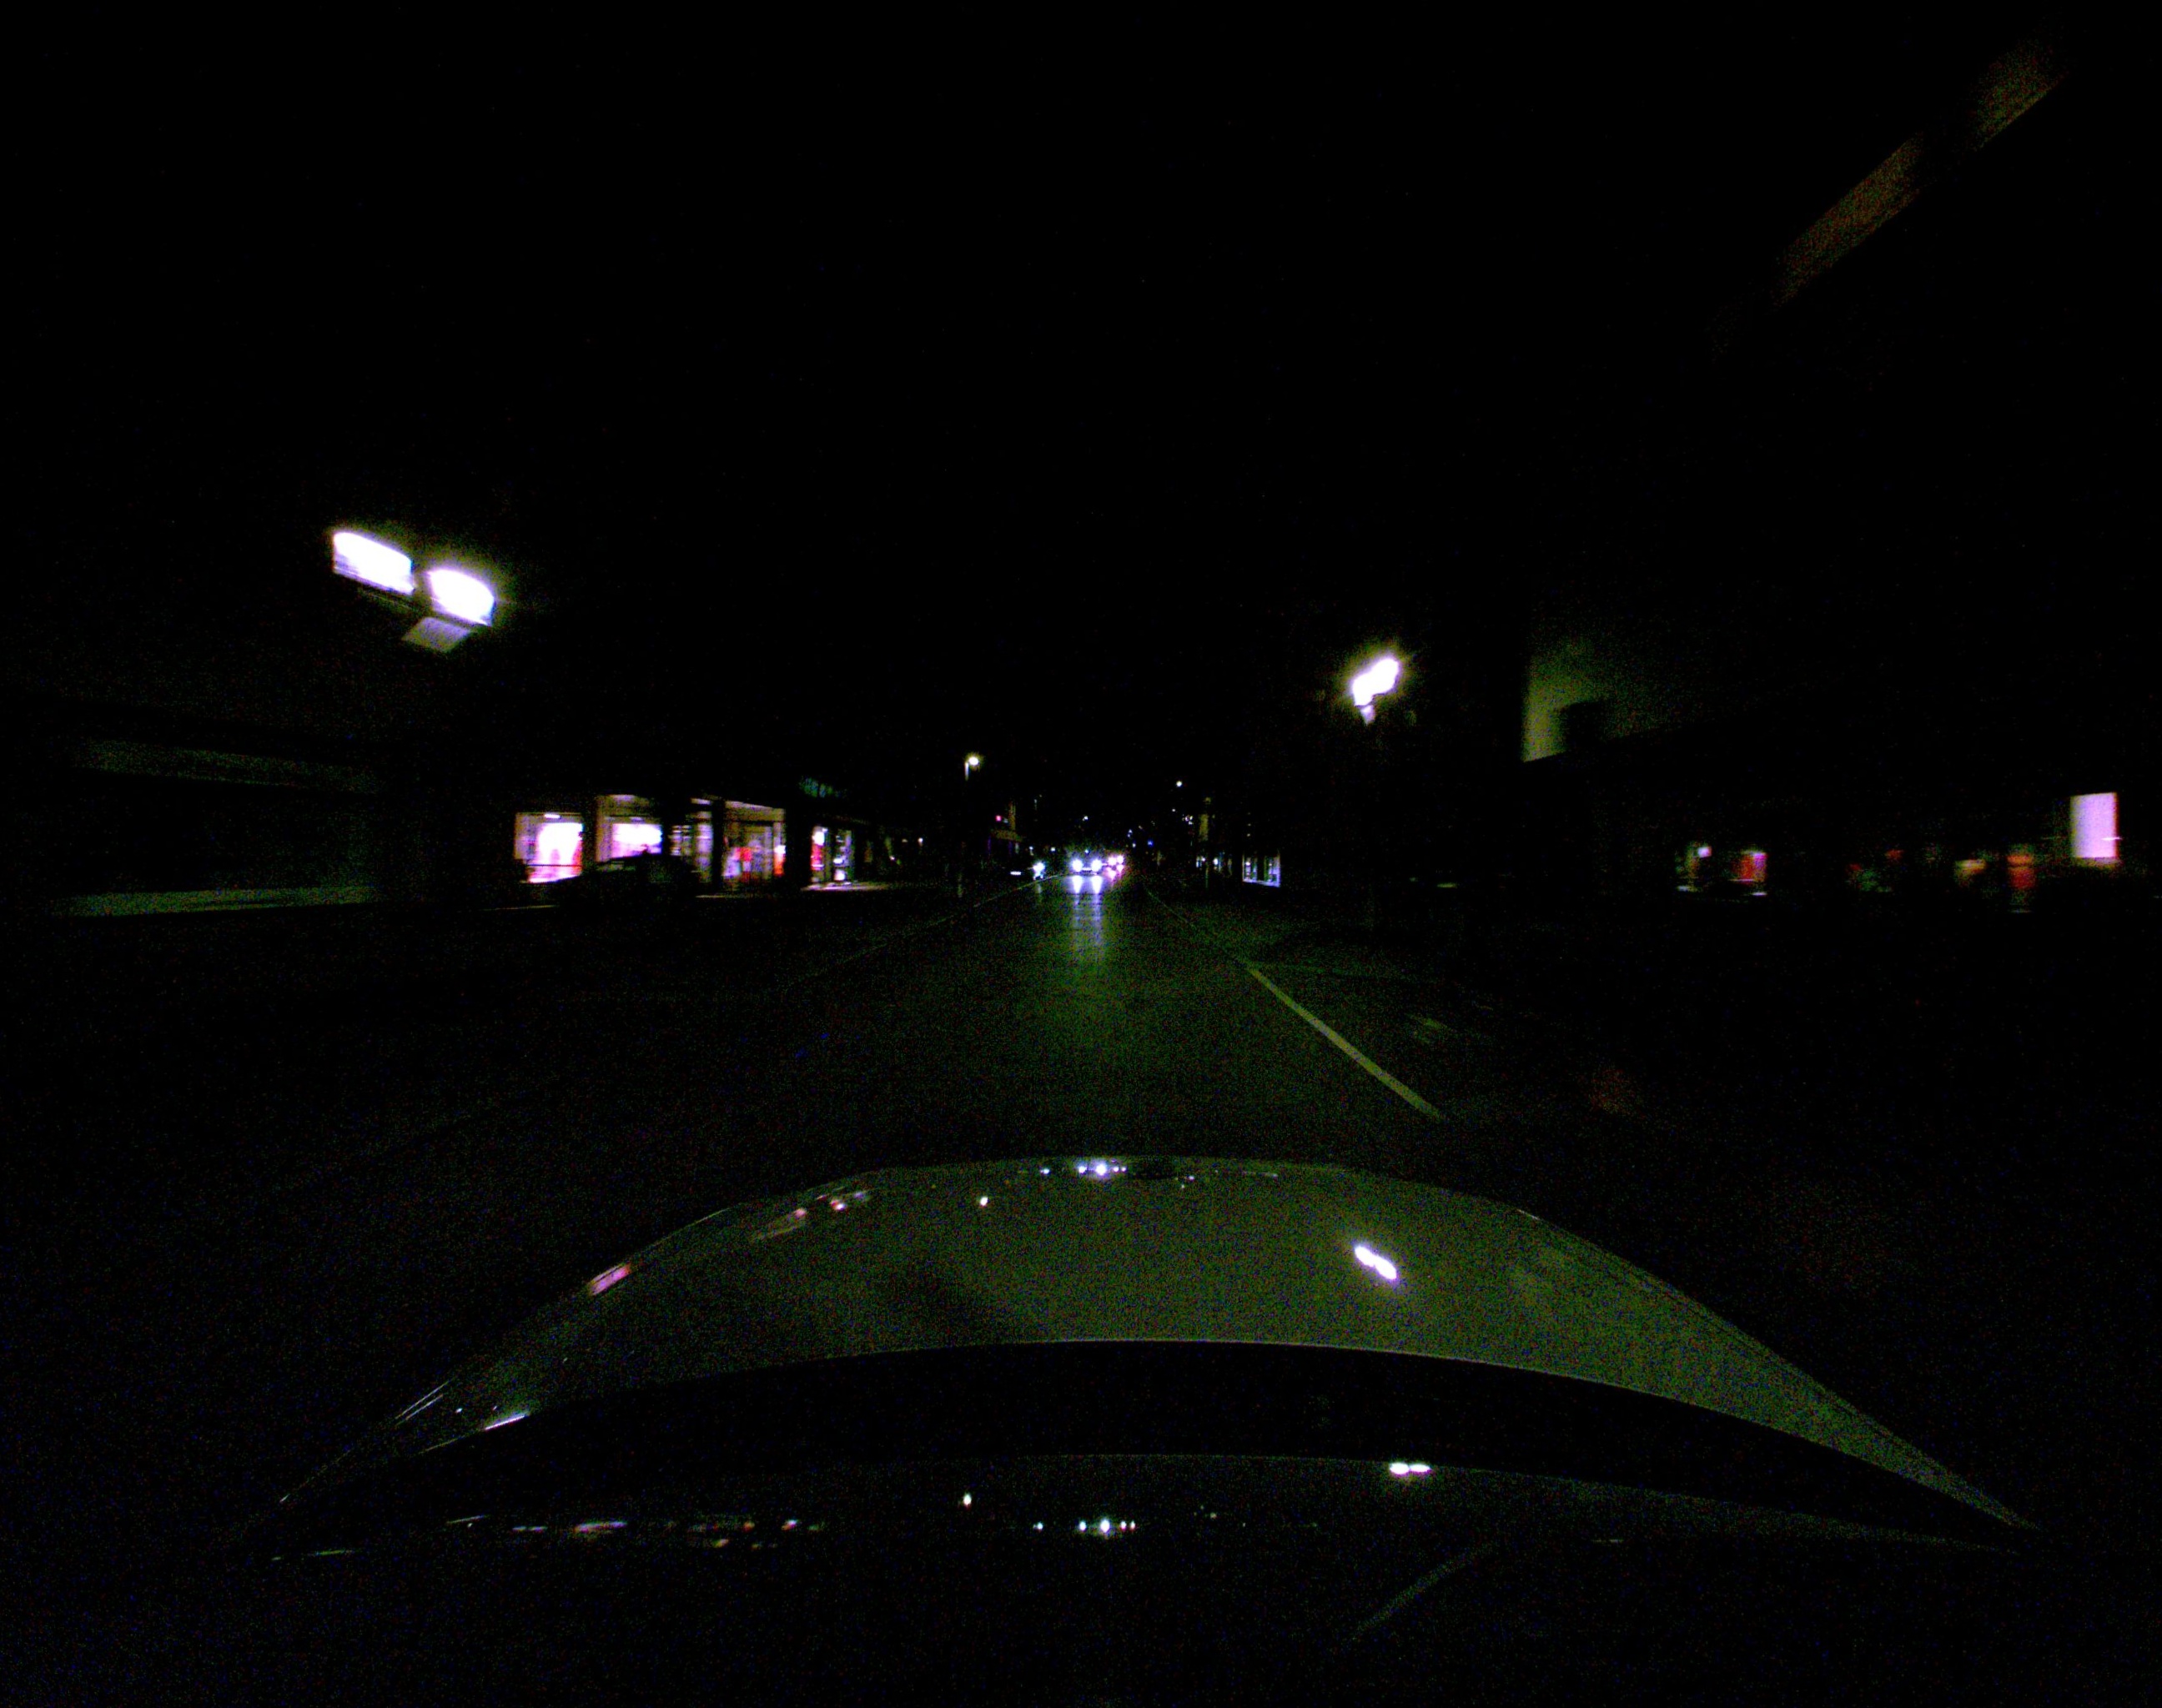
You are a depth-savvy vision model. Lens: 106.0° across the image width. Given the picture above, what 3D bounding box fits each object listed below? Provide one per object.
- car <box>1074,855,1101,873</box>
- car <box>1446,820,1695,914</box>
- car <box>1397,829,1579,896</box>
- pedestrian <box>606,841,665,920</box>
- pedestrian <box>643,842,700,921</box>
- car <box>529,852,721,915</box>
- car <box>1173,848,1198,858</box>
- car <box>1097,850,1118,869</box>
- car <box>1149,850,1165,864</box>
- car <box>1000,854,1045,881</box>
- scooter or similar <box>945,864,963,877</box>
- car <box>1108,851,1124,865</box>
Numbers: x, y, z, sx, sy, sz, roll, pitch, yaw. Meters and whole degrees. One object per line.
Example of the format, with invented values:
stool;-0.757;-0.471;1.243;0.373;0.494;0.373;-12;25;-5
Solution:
car;0.511;0.738;59.320;1.716;1.247;4.241;-1;0;3
car;10.077;0.238;16.984;4.065;1.581;1.815;-4;1;-2
car;10.905;0.231;22.020;3.975;1.476;1.751;-4;-1;-1
pedestrian;-9.547;0.547;17.479;0.766;1.656;0.817;0;1;3
pedestrian;-8.770;0.572;17.457;0.766;1.656;0.782;0;1;3
car;-12.294;0.773;22.125;4.147;1.438;1.843;-3;-1;5
car;16.883;-0.128;131.969;3.965;1.416;2.004;-1;-2;7
car;2.431;0.505;74.851;1.768;1.652;4.368;-1;0;4
car;9.245;0.363;99.028;1.768;1.652;4.368;-1;0;3
car;-3.243;0.730;45.823;1.906;1.370;4.462;-1;0;4
scooter or similar;-8.388;1.090;53.795;1.092;0.781;0.524;0;0;-1
car;4.254;0.412;99.496;1.767;1.652;4.369;-1;0;5
